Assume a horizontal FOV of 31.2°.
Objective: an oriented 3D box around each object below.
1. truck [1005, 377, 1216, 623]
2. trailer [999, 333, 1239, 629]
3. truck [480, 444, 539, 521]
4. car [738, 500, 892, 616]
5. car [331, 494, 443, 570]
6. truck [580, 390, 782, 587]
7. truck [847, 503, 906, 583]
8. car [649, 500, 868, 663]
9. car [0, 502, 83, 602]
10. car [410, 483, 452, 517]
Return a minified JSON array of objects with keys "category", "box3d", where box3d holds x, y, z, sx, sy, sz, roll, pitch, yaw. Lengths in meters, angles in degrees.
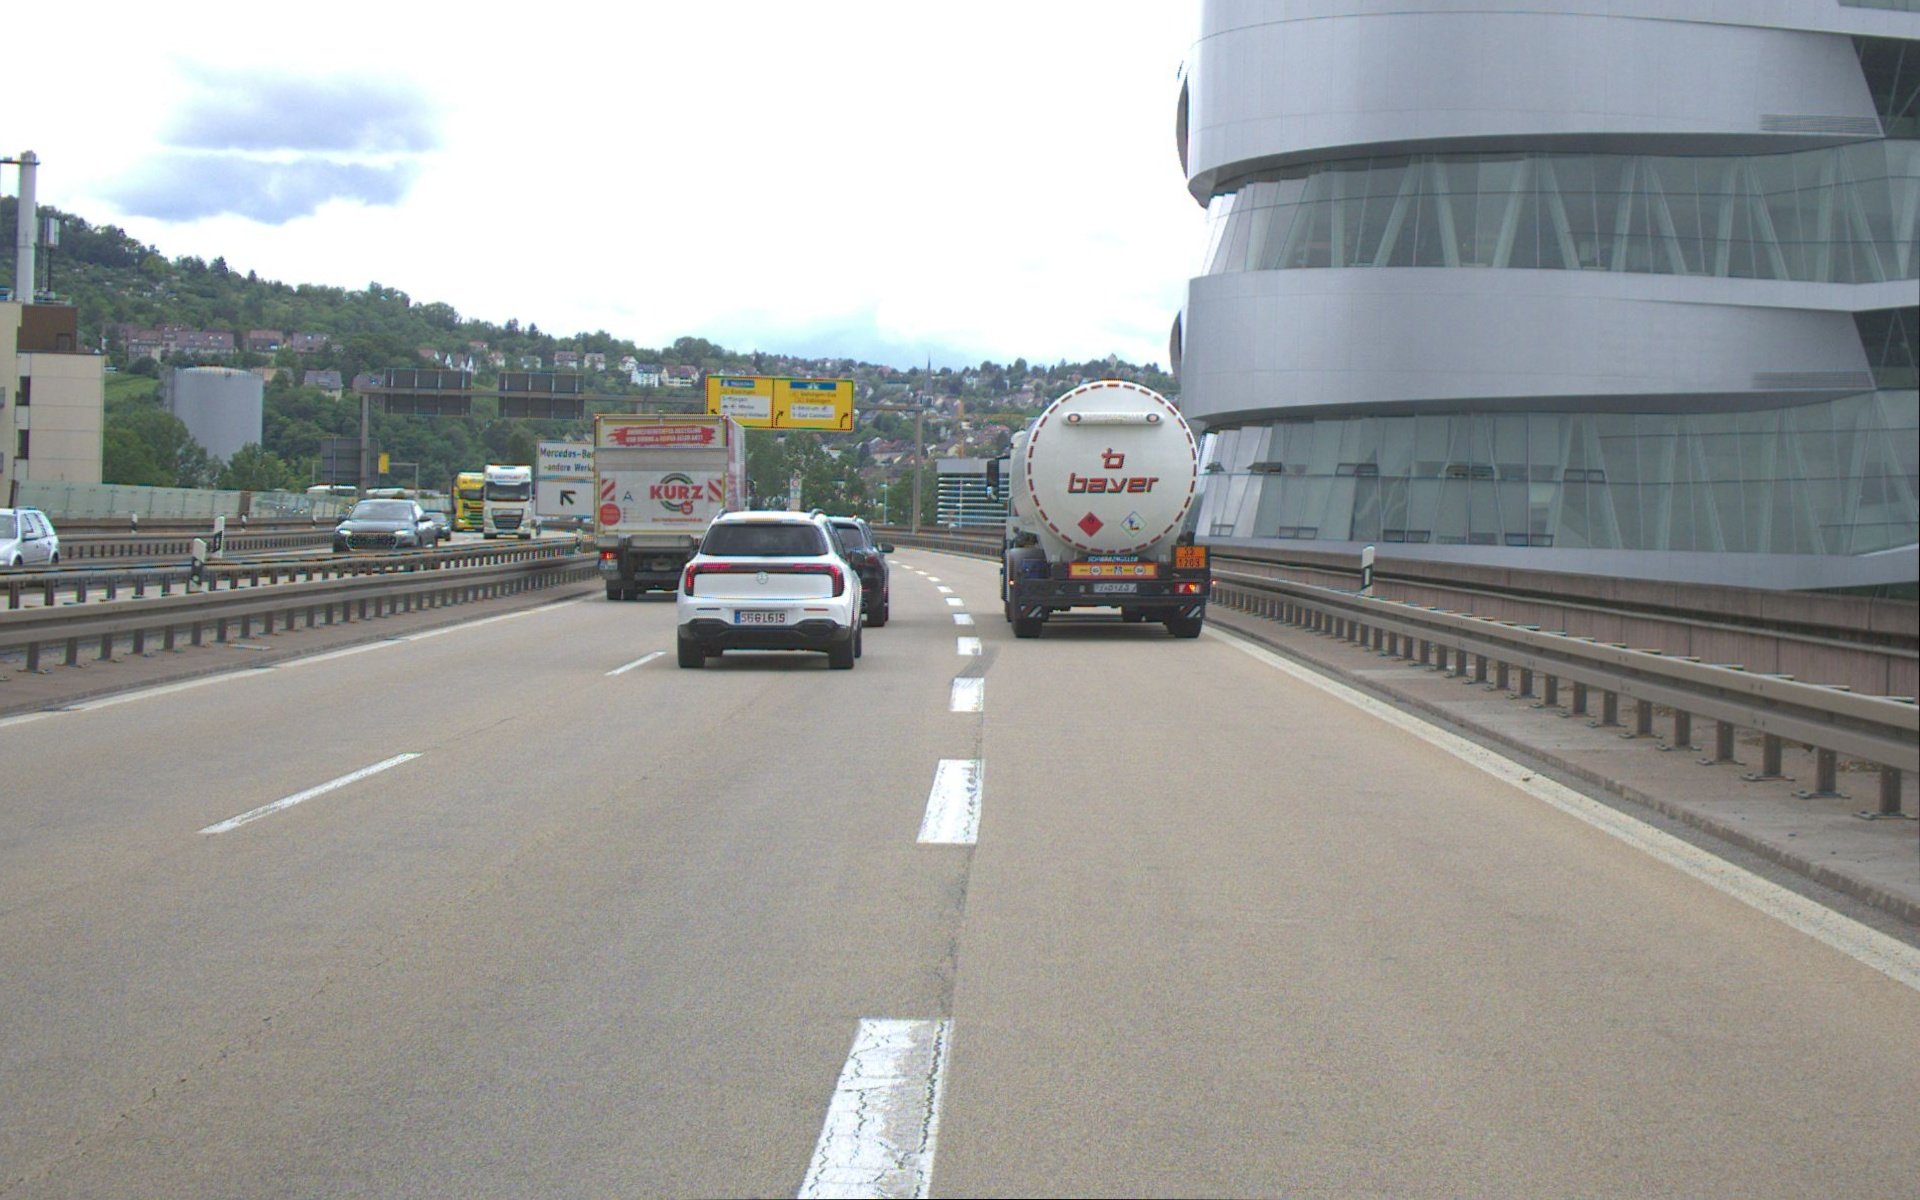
[{"category":"truck","box3d":[2.289,-1.537,54.458,3.014,3.644,6.273,0,1,0]},{"category":"trailer","box3d":[2.183,-1.593,48.399,3.057,3.777,8.303,0,1,2]},{"category":"truck","box3d":[-24.546,-6.370,187.662,2.771,4.065,5.647,0,1,-3]},{"category":"car","box3d":[-2.153,-0.638,52.179,1.993,1.669,4.408,0,1,2]},{"category":"car","box3d":[-13.409,-1.580,80.683,1.762,1.644,4.335,3,1,1]},{"category":"truck","box3d":[-5.445,-2.156,68.625,3.057,3.678,8.303,0,1,2]},{"category":"truck","box3d":[-4.911,-3.345,201.100,3.056,4.546,8.305,0,1,-4]},{"category":"car","box3d":[-2.141,-0.220,37.732,1.993,1.669,4.408,0,1,2]},{"category":"car","box3d":[-16.379,-0.835,58.392,1.683,1.644,4.448,2,1,1]},{"category":"car","box3d":[-26.897,-5.070,174.917,1.683,1.644,4.360,2,1,-3]}]
